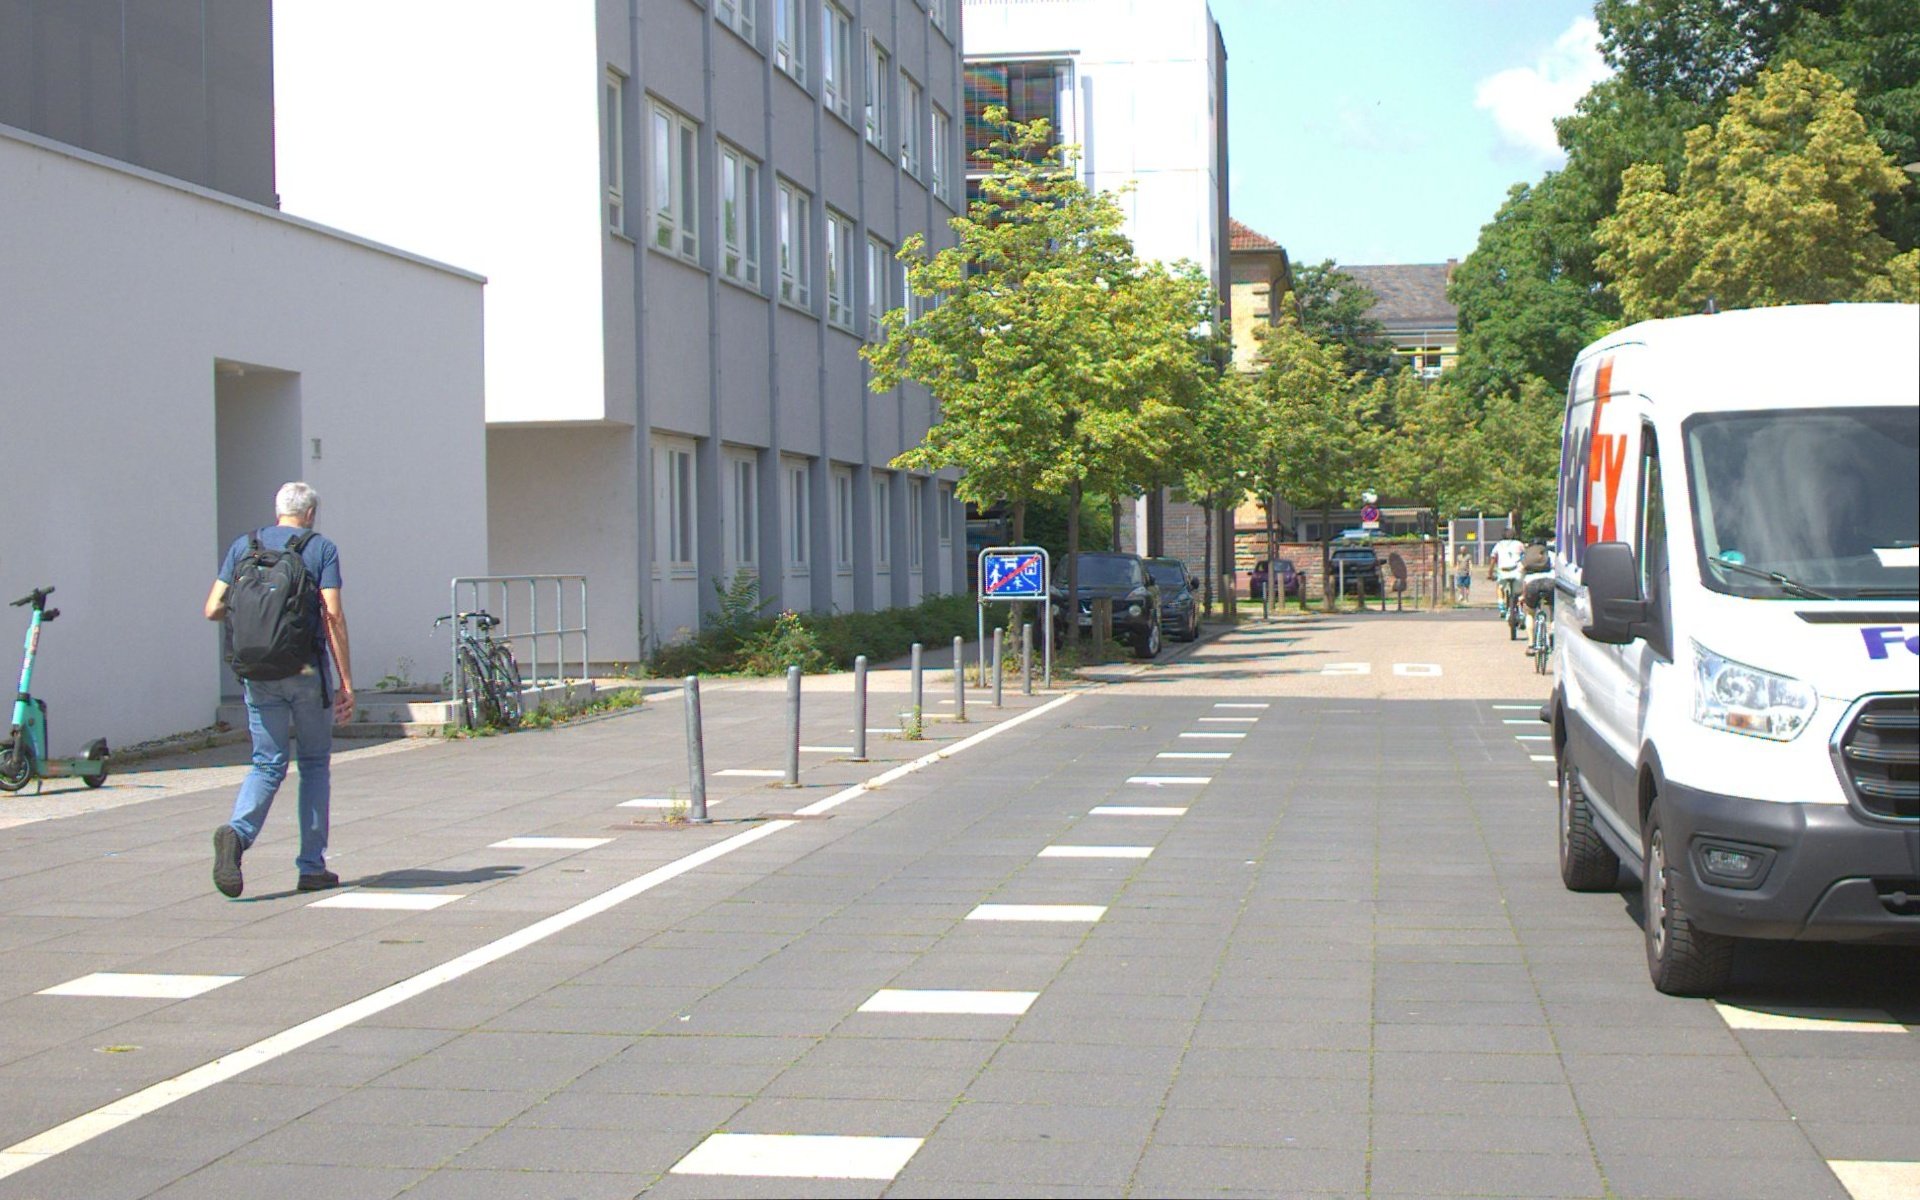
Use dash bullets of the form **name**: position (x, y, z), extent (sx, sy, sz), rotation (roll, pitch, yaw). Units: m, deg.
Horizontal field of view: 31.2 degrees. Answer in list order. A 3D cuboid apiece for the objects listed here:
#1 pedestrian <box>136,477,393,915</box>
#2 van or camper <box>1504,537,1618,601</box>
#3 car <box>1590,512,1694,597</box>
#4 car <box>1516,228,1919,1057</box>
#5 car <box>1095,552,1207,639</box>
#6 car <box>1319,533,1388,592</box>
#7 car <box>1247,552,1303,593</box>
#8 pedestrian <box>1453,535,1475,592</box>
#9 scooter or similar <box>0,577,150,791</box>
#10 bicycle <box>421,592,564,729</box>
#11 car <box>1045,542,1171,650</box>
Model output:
- **pedestrian**: position (-2.978, 0.391, 14.834), extent (0.823, 1.811, 1.144), rotation (-1, 1, 2)
- **van or camper**: position (18.623, -0.963, 106.337), extent (1.956, 1.916, 5.412), rotation (1, 1, 27)
- **car**: position (15.885, -1.059, 79.922), extent (1.850, 1.885, 4.886), rotation (-1, 1, 17)
- **car**: position (3.435, 0.080, 13.402), extent (2.059, 2.534, 5.849), rotation (-1, 1, 5)
- **car**: position (3.393, -0.104, 60.489), extent (1.778, 1.456, 4.258), rotation (1, 1, 5)
- **car**: position (13.177, -1.250, 115.385), extent (2.175, 1.919, 5.185), rotation (-1, 1, 5)
- **car**: position (10.615, -0.932, 115.693), extent (1.817, 1.319, 3.767), rotation (0, 1, 6)
- **pedestrian**: position (15.675, -1.139, 106.838), extent (0.584, 1.758, 0.911), rotation (-1, 1, 13)
- **scooter or similar**: position (-5.575, 0.499, 21.211), extent (0.483, 1.259, 1.312), rotation (0, 1, 19)
- **bicycle**: position (-3.834, 0.482, 28.319), extent (0.543, 1.058, 1.898), rotation (0, 1, 12)
- **car**: position (2.288, -0.086, 52.208), extent (1.697, 1.558, 4.067), rotation (-1, 1, 5)
